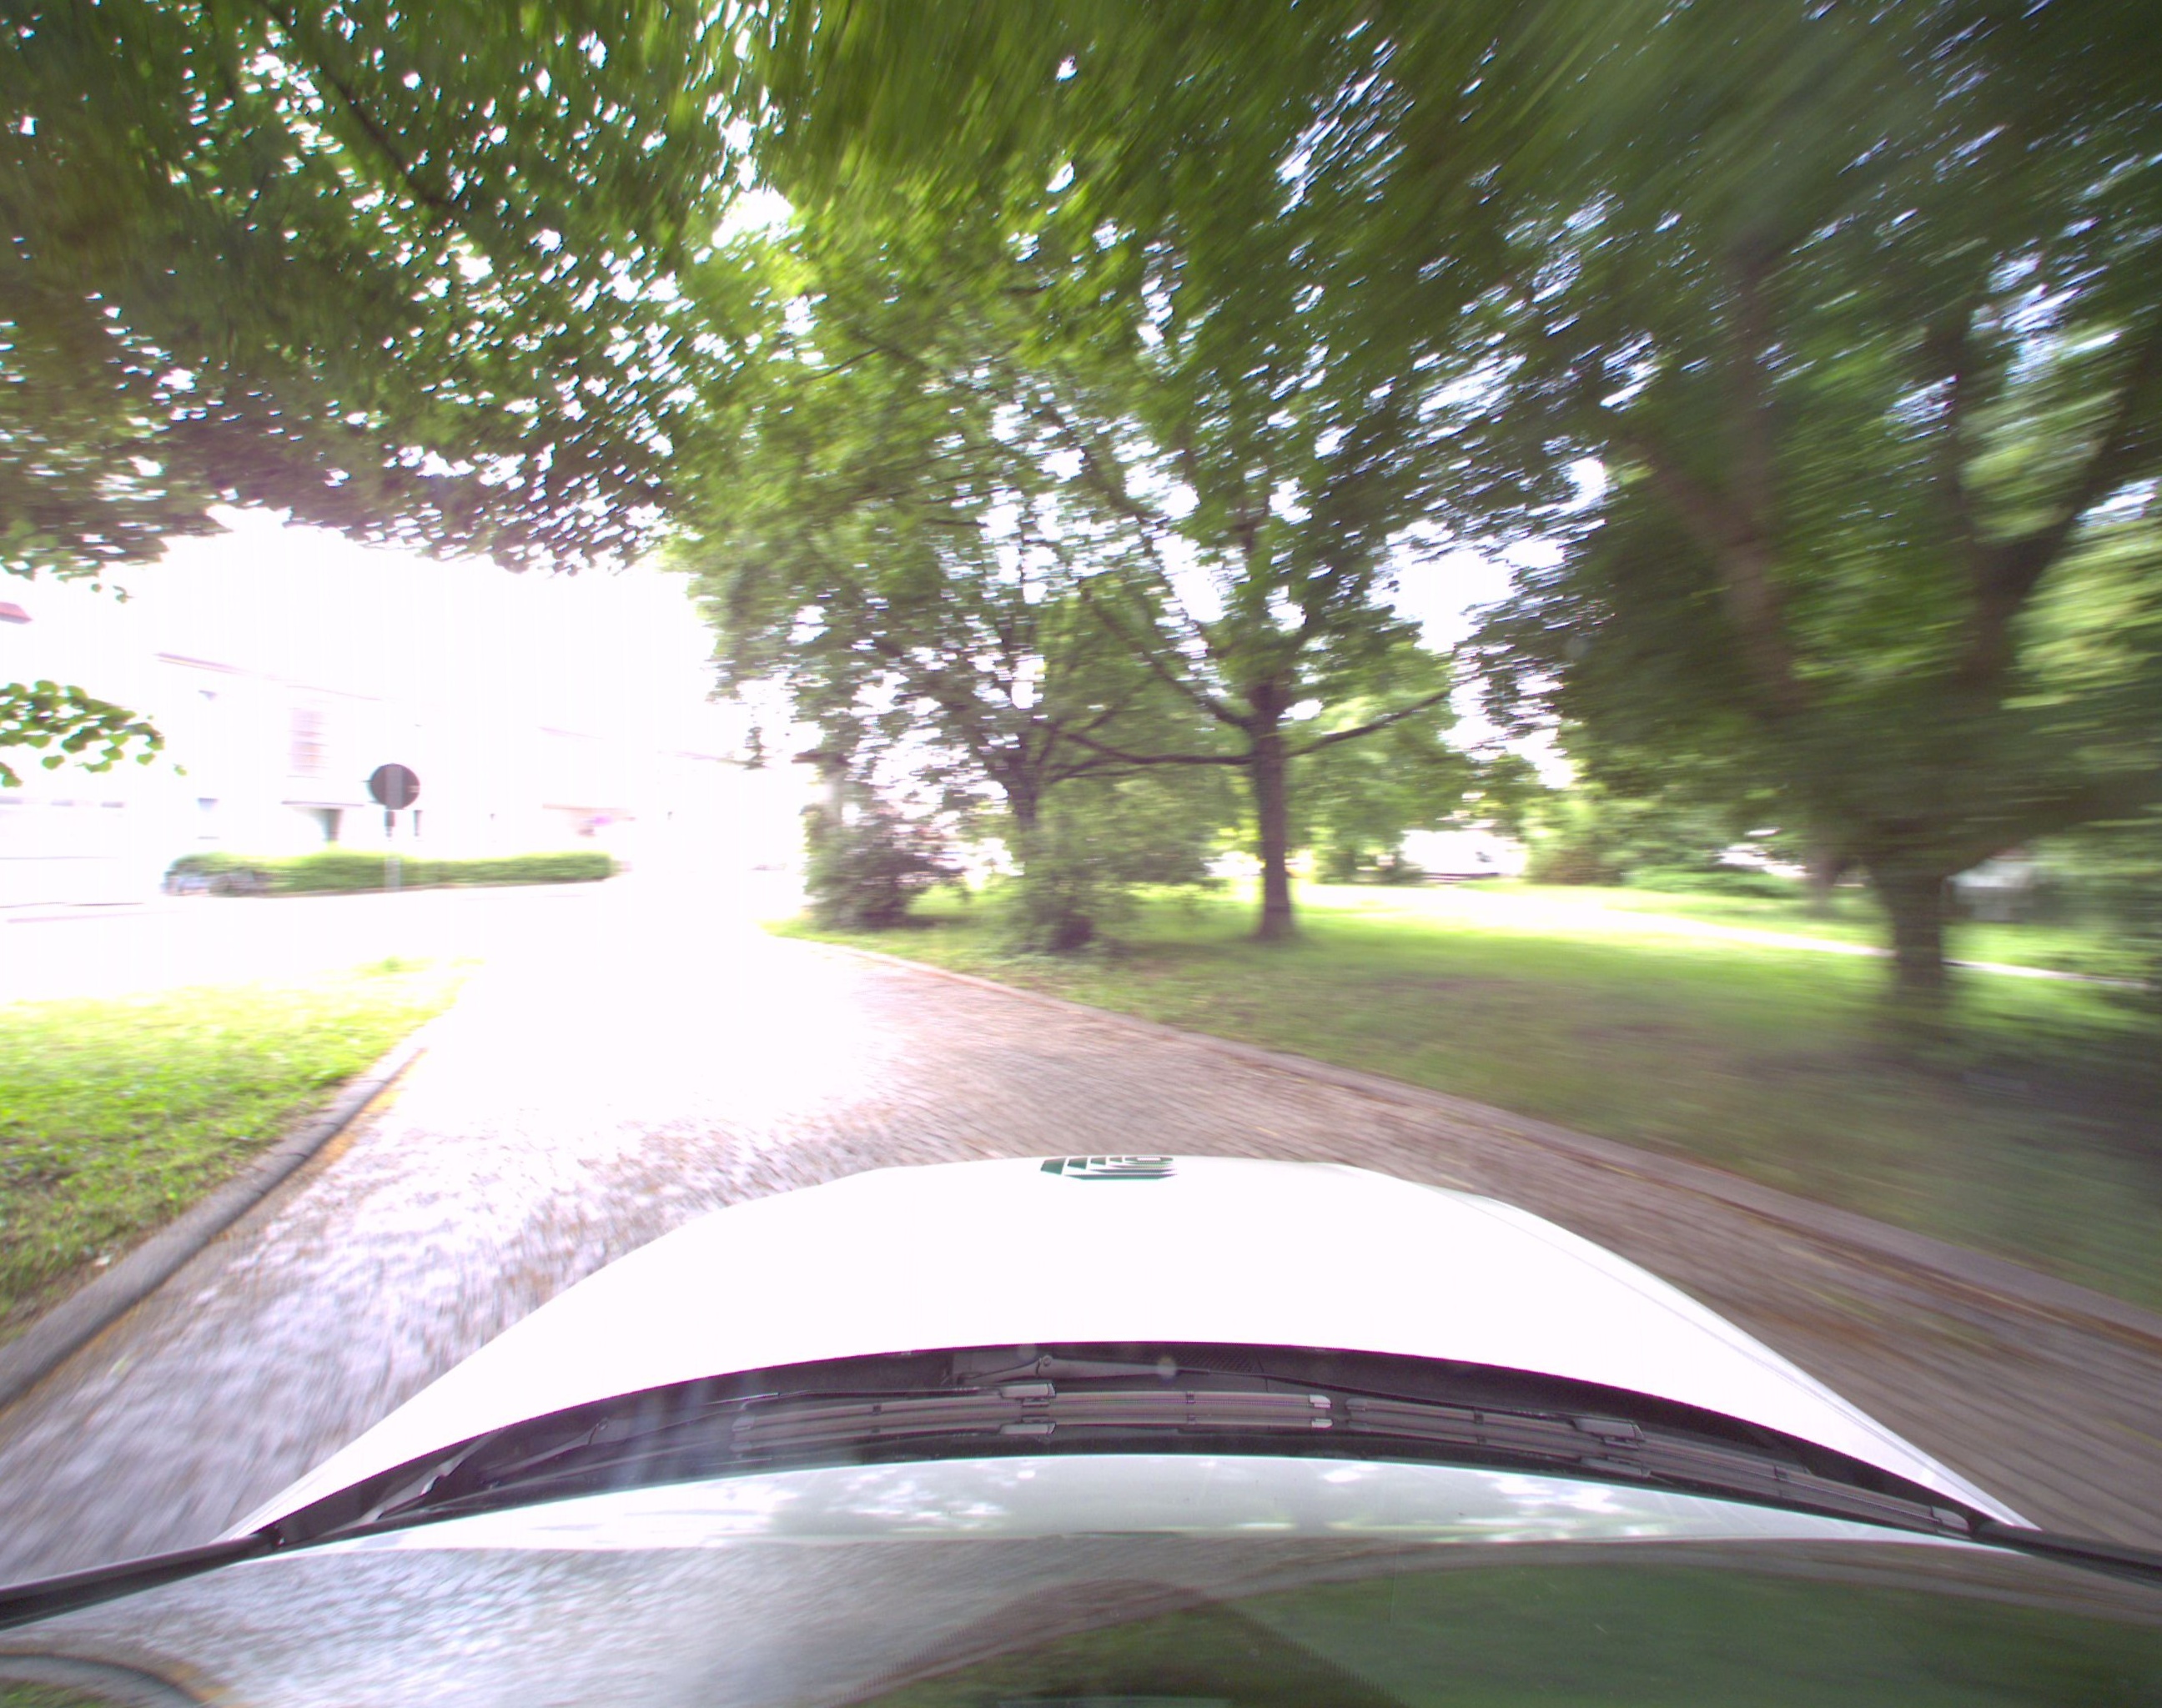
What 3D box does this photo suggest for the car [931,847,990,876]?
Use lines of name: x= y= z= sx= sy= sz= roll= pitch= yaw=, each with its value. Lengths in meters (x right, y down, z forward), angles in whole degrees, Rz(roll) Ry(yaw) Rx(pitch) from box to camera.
car: x=-7.526 y=0.424 z=51.388 sx=1.967 sy=1.684 sz=4.593 roll=1 pitch=1 yaw=15

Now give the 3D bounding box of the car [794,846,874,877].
car: x=-16.314 y=0.537 z=53.980 sx=4.610 sy=2.014 sz=2.002 roll=0 pitch=-1 yaw=4

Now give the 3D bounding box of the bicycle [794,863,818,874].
bicycle: x=-20.787 y=1.113 z=61.481 sx=1.673 sy=0.757 sz=0.567 roll=1 pitch=0 yaw=-17

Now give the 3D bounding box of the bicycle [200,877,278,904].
bicycle: x=-24.380 y=1.055 z=23.586 sx=1.668 sy=0.757 sz=0.410 roll=0 pitch=0 yaw=-8

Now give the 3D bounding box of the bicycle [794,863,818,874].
bicycle: x=-21.039 y=1.104 z=62.349 sx=1.673 sy=0.757 sz=0.567 roll=1 pitch=0 yaw=-17
